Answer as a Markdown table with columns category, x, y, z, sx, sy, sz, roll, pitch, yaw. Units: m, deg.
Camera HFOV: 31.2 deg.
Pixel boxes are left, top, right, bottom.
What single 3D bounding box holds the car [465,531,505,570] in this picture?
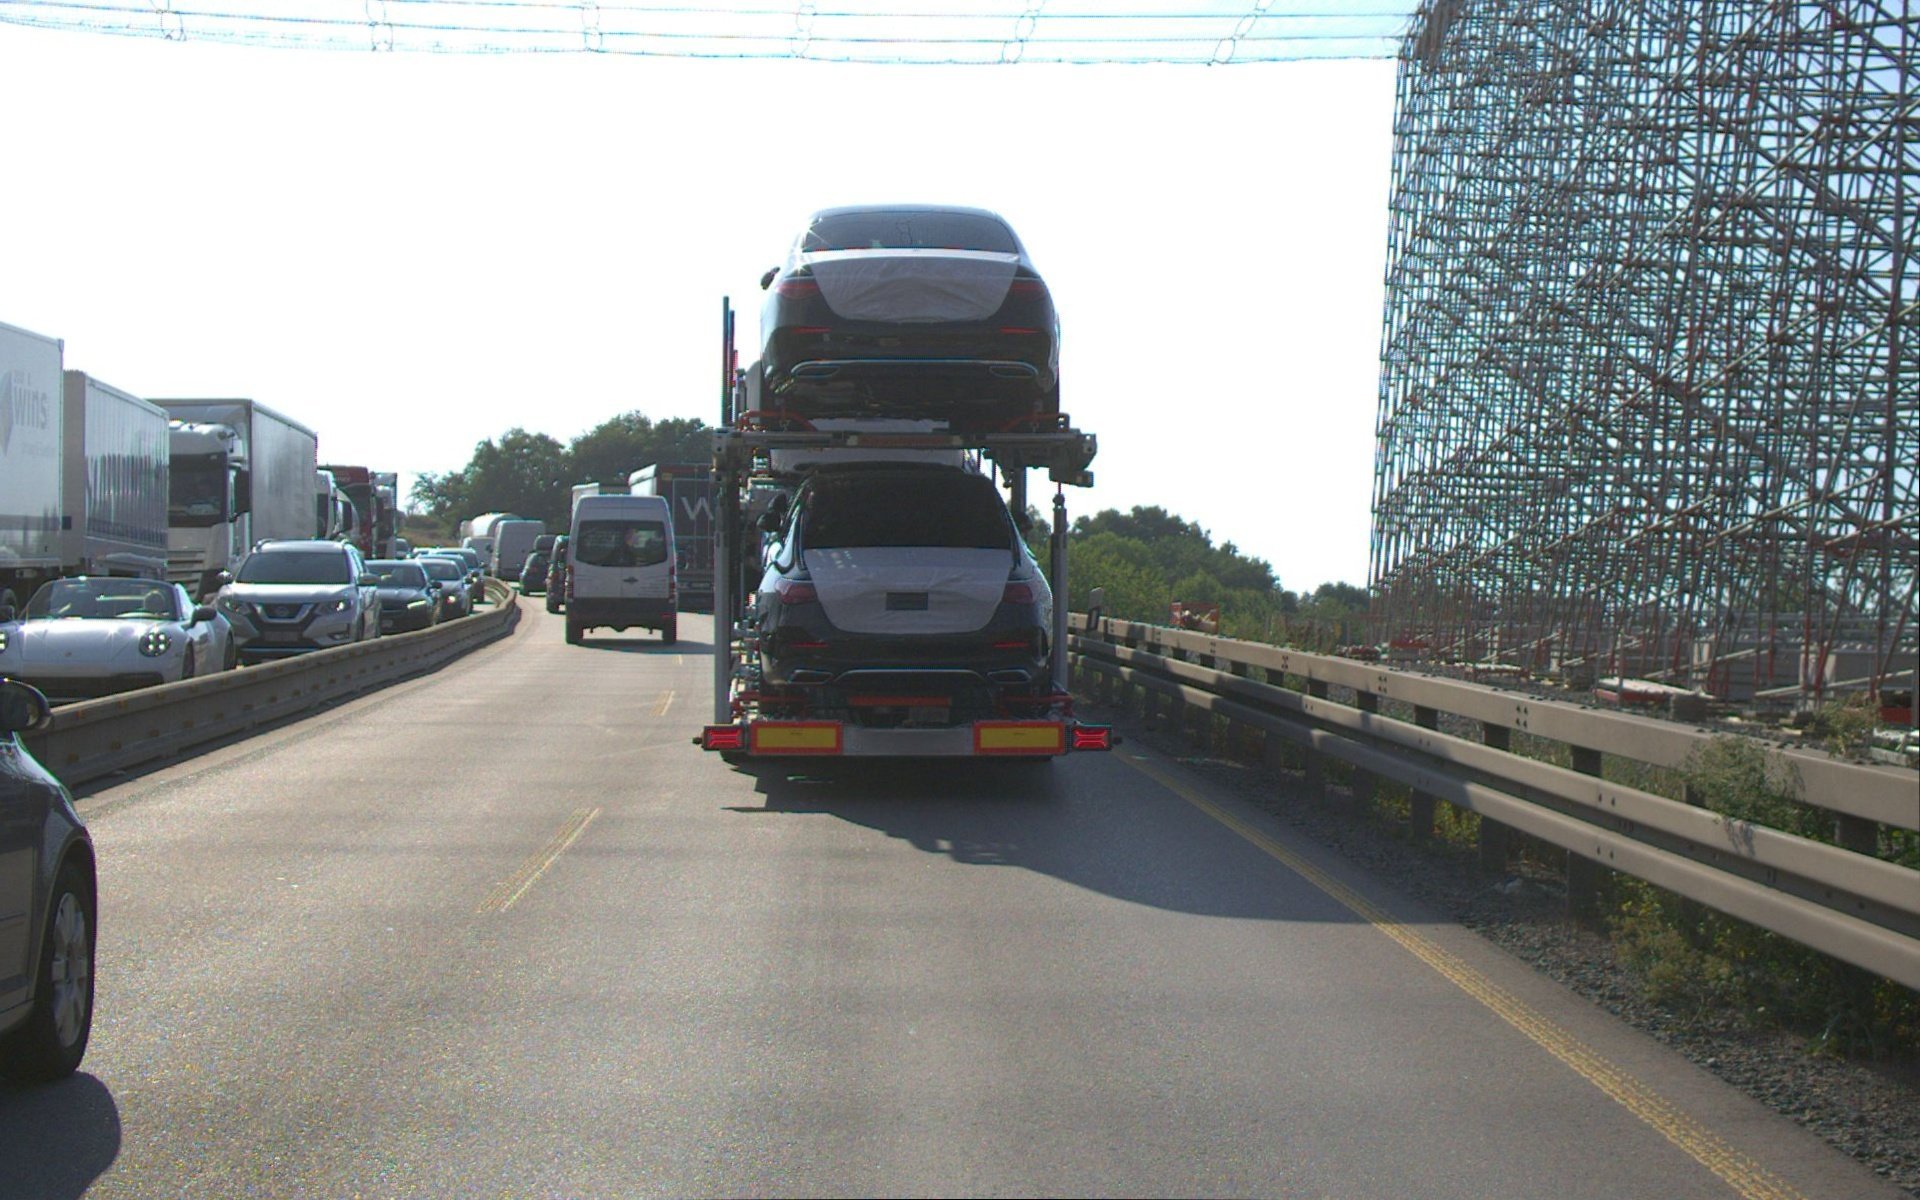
| category | x | y | z | sx | sy | sz | roll | pitch | yaw |
| --- | --- | --- | --- | --- | --- | --- | --- | --- | --- |
| car | -22.385 | -2.325 | 162.013 | 1.837 | 1.829 | 4.001 | 1 | 1 | -8 |

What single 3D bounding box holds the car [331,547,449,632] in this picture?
| category | x | y | z | sx | sy | sz | roll | pitch | yaw |
| --- | --- | --- | --- | --- | --- | --- | --- | --- | --- |
| car | -10.255 | -0.209 | 62.110 | 1.777 | 1.445 | 4.664 | 1 | 1 | -5 |

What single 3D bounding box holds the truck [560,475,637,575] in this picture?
| category | x | y | z | sx | sy | sz | roll | pitch | yaw |
| --- | --- | --- | --- | --- | --- | --- | --- | --- | --- |
| truck | -13.819 | -2.802 | 130.882 | 2.530 | 3.635 | 8.907 | 1 | 1 | -8 |

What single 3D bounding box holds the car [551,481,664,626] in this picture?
| category | x | y | z | sx | sy | sz | roll | pitch | yaw |
| --- | --- | --- | --- | --- | --- | --- | --- | --- | --- |
| car | -6.443 | -0.837 | 62.431 | 1.920 | 2.484 | 5.410 | 1 | 1 | -7 |

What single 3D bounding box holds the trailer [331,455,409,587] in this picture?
| category | x | y | z | sx | sy | sz | roll | pitch | yaw |
| --- | --- | --- | --- | --- | --- | --- | --- | --- | --- |
| trailer | -20.469 | -2.679 | 119.186 | 2.475 | 4.314 | 10.514 | 1 | 1 | -10 |

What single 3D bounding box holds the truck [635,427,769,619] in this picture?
| category | x | y | z | sx | sy | sz | roll | pitch | yaw |
| --- | --- | --- | --- | --- | --- | --- | --- | --- | --- |
| truck | -7.558 | -2.168 | 99.445 | 3.285 | 5.219 | 9.938 | 1 | 1 | -7 |

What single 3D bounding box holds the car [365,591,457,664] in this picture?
| category | x | y | z | sx | sy | sz | roll | pitch | yaw |
| --- | --- | --- | --- | --- | --- | --- | --- | --- | --- |
| car | -11.029 | 0.534 | 69.280 | 1.607 | 1.371 | 3.901 | 1 | 1 | -6 |

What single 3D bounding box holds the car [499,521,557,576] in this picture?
| category | x | y | z | sx | sy | sz | roll | pitch | yaw |
| --- | --- | --- | --- | --- | --- | --- | --- | --- | --- |
| car | -14.265 | -1.693 | 113.635 | 1.826 | 1.766 | 4.001 | 1 | 1 | -6 |

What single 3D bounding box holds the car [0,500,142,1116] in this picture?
| category | x | y | z | sx | sy | sz | roll | pitch | yaw |
| --- | --- | --- | --- | --- | --- | --- | --- | --- | --- |
| car | -3.320 | 0.532 | 8.280 | 1.691 | 1.590 | 4.000 | 1 | 1 | 1 |

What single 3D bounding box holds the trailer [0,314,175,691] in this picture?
| category | x | y | z | sx | sy | sz | roll | pitch | yaw |
| --- | --- | --- | --- | --- | --- | --- | --- | --- | --- |
| trailer | -12.073 | -1.115 | 42.715 | 2.669 | 4.002 | 13.336 | 1 | 1 | -5 |

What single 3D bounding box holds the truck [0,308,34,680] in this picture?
| category | x | y | z | sx | sy | sz | roll | pitch | yaw |
| --- | --- | --- | --- | --- | --- | --- | --- | --- | --- |
| truck | -11.240 | -1.101 | 34.042 | 2.630 | 3.896 | 7.206 | 1 | 1 | -4 |

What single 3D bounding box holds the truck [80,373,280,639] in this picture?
| category | x | y | z | sx | sy | sz | roll | pitch | yaw |
| --- | --- | --- | --- | --- | --- | --- | --- | --- | --- |
| truck | -12.492 | -1.470 | 55.418 | 2.473 | 4.032 | 5.618 | 1 | 0 | -6 |

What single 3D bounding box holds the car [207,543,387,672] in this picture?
| category | x | y | z | sx | sy | sz | roll | pitch | yaw |
| --- | --- | --- | --- | --- | --- | --- | --- | --- | --- |
| car | -8.511 | 0.069 | 44.439 | 1.808 | 1.563 | 4.367 | 1 | 1 | -5 |

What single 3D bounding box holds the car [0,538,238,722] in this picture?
| category | x | y | z | sx | sy | sz | roll | pitch | yaw |
| --- | --- | --- | --- | --- | --- | --- | --- | --- | --- |
| car | -7.856 | 0.234 | 31.673 | 1.808 | 1.563 | 4.367 | 1 | 1 | -5 |

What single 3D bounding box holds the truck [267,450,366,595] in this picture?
| category | x | y | z | sx | sy | sz | roll | pitch | yaw |
| --- | --- | --- | --- | --- | --- | --- | --- | --- | --- |
| truck | -17.408 | -2.066 | 93.200 | 2.432 | 3.772 | 5.619 | 1 | 1 | -9 |

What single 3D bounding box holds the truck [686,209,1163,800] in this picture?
| category | x | y | z | sx | sy | sz | roll | pitch | yaw |
| --- | --- | --- | --- | --- | --- | --- | --- | --- | --- |
| truck | -0.502 | -0.620 | 25.794 | 2.799 | 3.485 | 10.607 | 1 | 1 | -3 |

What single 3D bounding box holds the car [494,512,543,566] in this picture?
| category | x | y | z | sx | sy | sz | roll | pitch | yaw |
| --- | --- | --- | --- | --- | --- | --- | --- | --- | --- |
| car | -17.062 | -2.339 | 132.744 | 1.629 | 2.007 | 4.001 | 1 | 1 | -11 |

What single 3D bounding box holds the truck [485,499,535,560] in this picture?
| category | x | y | z | sx | sy | sz | roll | pitch | yaw |
| --- | --- | --- | --- | --- | --- | --- | --- | --- | --- |
| truck | -24.176 | -3.742 | 184.684 | 2.590 | 3.159 | 6.678 | 1 | 1 | -7 |

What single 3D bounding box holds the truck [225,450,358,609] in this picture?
| category | x | y | z | sx | sy | sz | roll | pitch | yaw |
| --- | --- | --- | --- | --- | --- | --- | --- | --- | --- |
| truck | -14.794 | -1.541 | 76.398 | 2.413 | 3.358 | 5.618 | 1 | 1 | -6 |

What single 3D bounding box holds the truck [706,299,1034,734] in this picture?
| category | x | y | z | sx | sy | sz | roll | pitch | yaw |
| --- | --- | --- | --- | --- | --- | --- | --- | --- | --- |
| truck | -1.063 | -0.780 | 35.185 | 2.837 | 3.779 | 9.988 | 1 | 1 | -3 |

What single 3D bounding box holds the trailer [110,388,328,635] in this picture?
| category | x | y | z | sx | sy | sz | roll | pitch | yaw |
| --- | --- | --- | --- | --- | --- | --- | --- | --- | --- |
| trailer | -13.226 | -1.498 | 62.380 | 2.427 | 3.949 | 14.102 | 1 | 1 | -6 |
